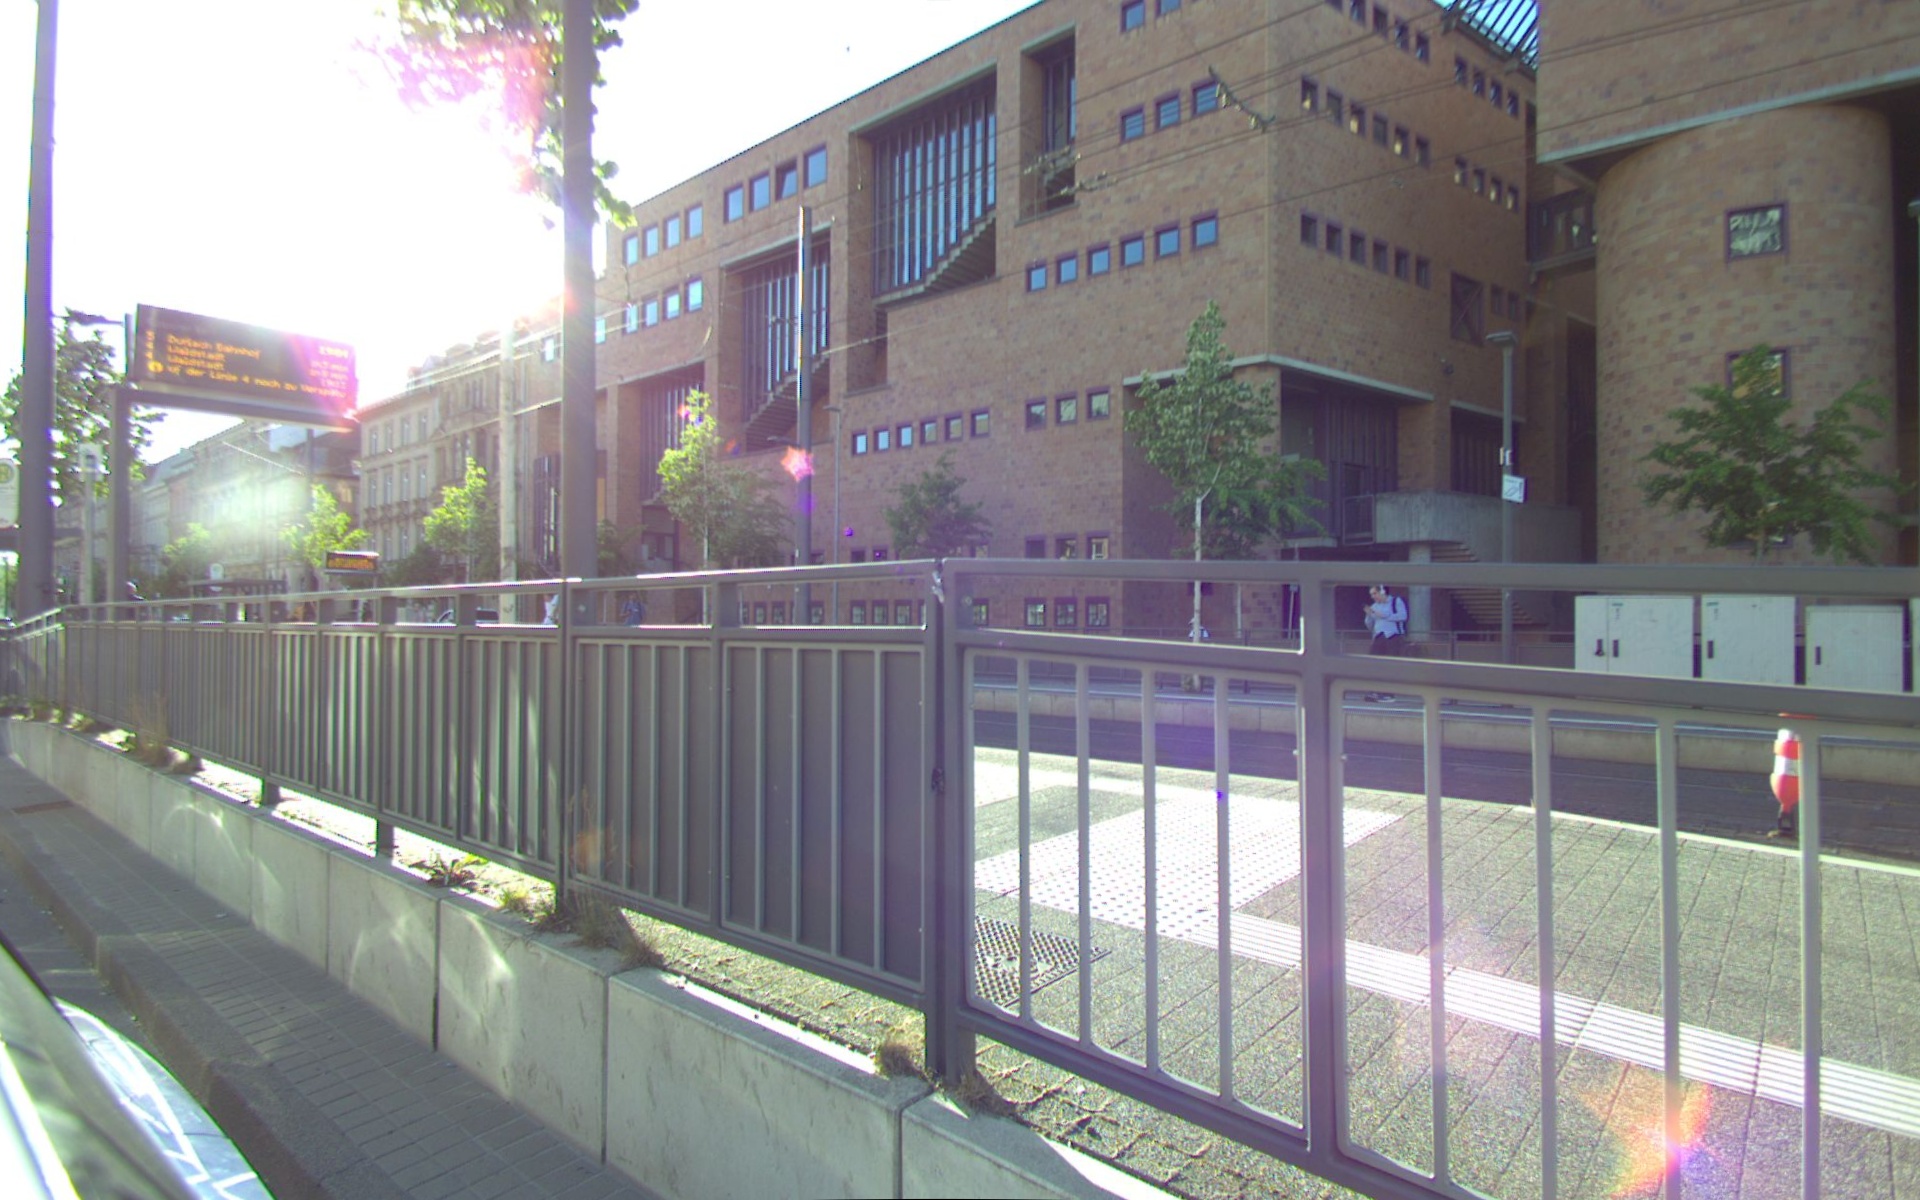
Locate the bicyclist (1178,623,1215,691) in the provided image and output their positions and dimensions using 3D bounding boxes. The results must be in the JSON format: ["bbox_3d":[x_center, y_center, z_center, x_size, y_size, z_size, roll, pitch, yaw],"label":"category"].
[{"bbox_3d":[5.577,1.328,23.905,0.650,1.545,0.580,0,0,41],"label":"bicyclist"}]

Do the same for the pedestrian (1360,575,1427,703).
[{"bbox_3d":[5.776,0.497,13.476,0.684,1.647,0.660,0,0,37],"label":"pedestrian"}]

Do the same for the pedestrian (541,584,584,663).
[{"bbox_3d":[-9.317,0.544,23.723,0.668,1.821,0.677,0,0,40],"label":"pedestrian"}]

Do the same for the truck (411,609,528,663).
[{"bbox_3d":[-18.502,1.362,38.092,5.151,1.894,1.973,-2,-4,40],"label":"truck"}]

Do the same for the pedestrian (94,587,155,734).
[{"bbox_3d":[-14.333,1.012,17.359,0.625,2.461,0.676,0,0,38],"label":"pedestrian"}]
